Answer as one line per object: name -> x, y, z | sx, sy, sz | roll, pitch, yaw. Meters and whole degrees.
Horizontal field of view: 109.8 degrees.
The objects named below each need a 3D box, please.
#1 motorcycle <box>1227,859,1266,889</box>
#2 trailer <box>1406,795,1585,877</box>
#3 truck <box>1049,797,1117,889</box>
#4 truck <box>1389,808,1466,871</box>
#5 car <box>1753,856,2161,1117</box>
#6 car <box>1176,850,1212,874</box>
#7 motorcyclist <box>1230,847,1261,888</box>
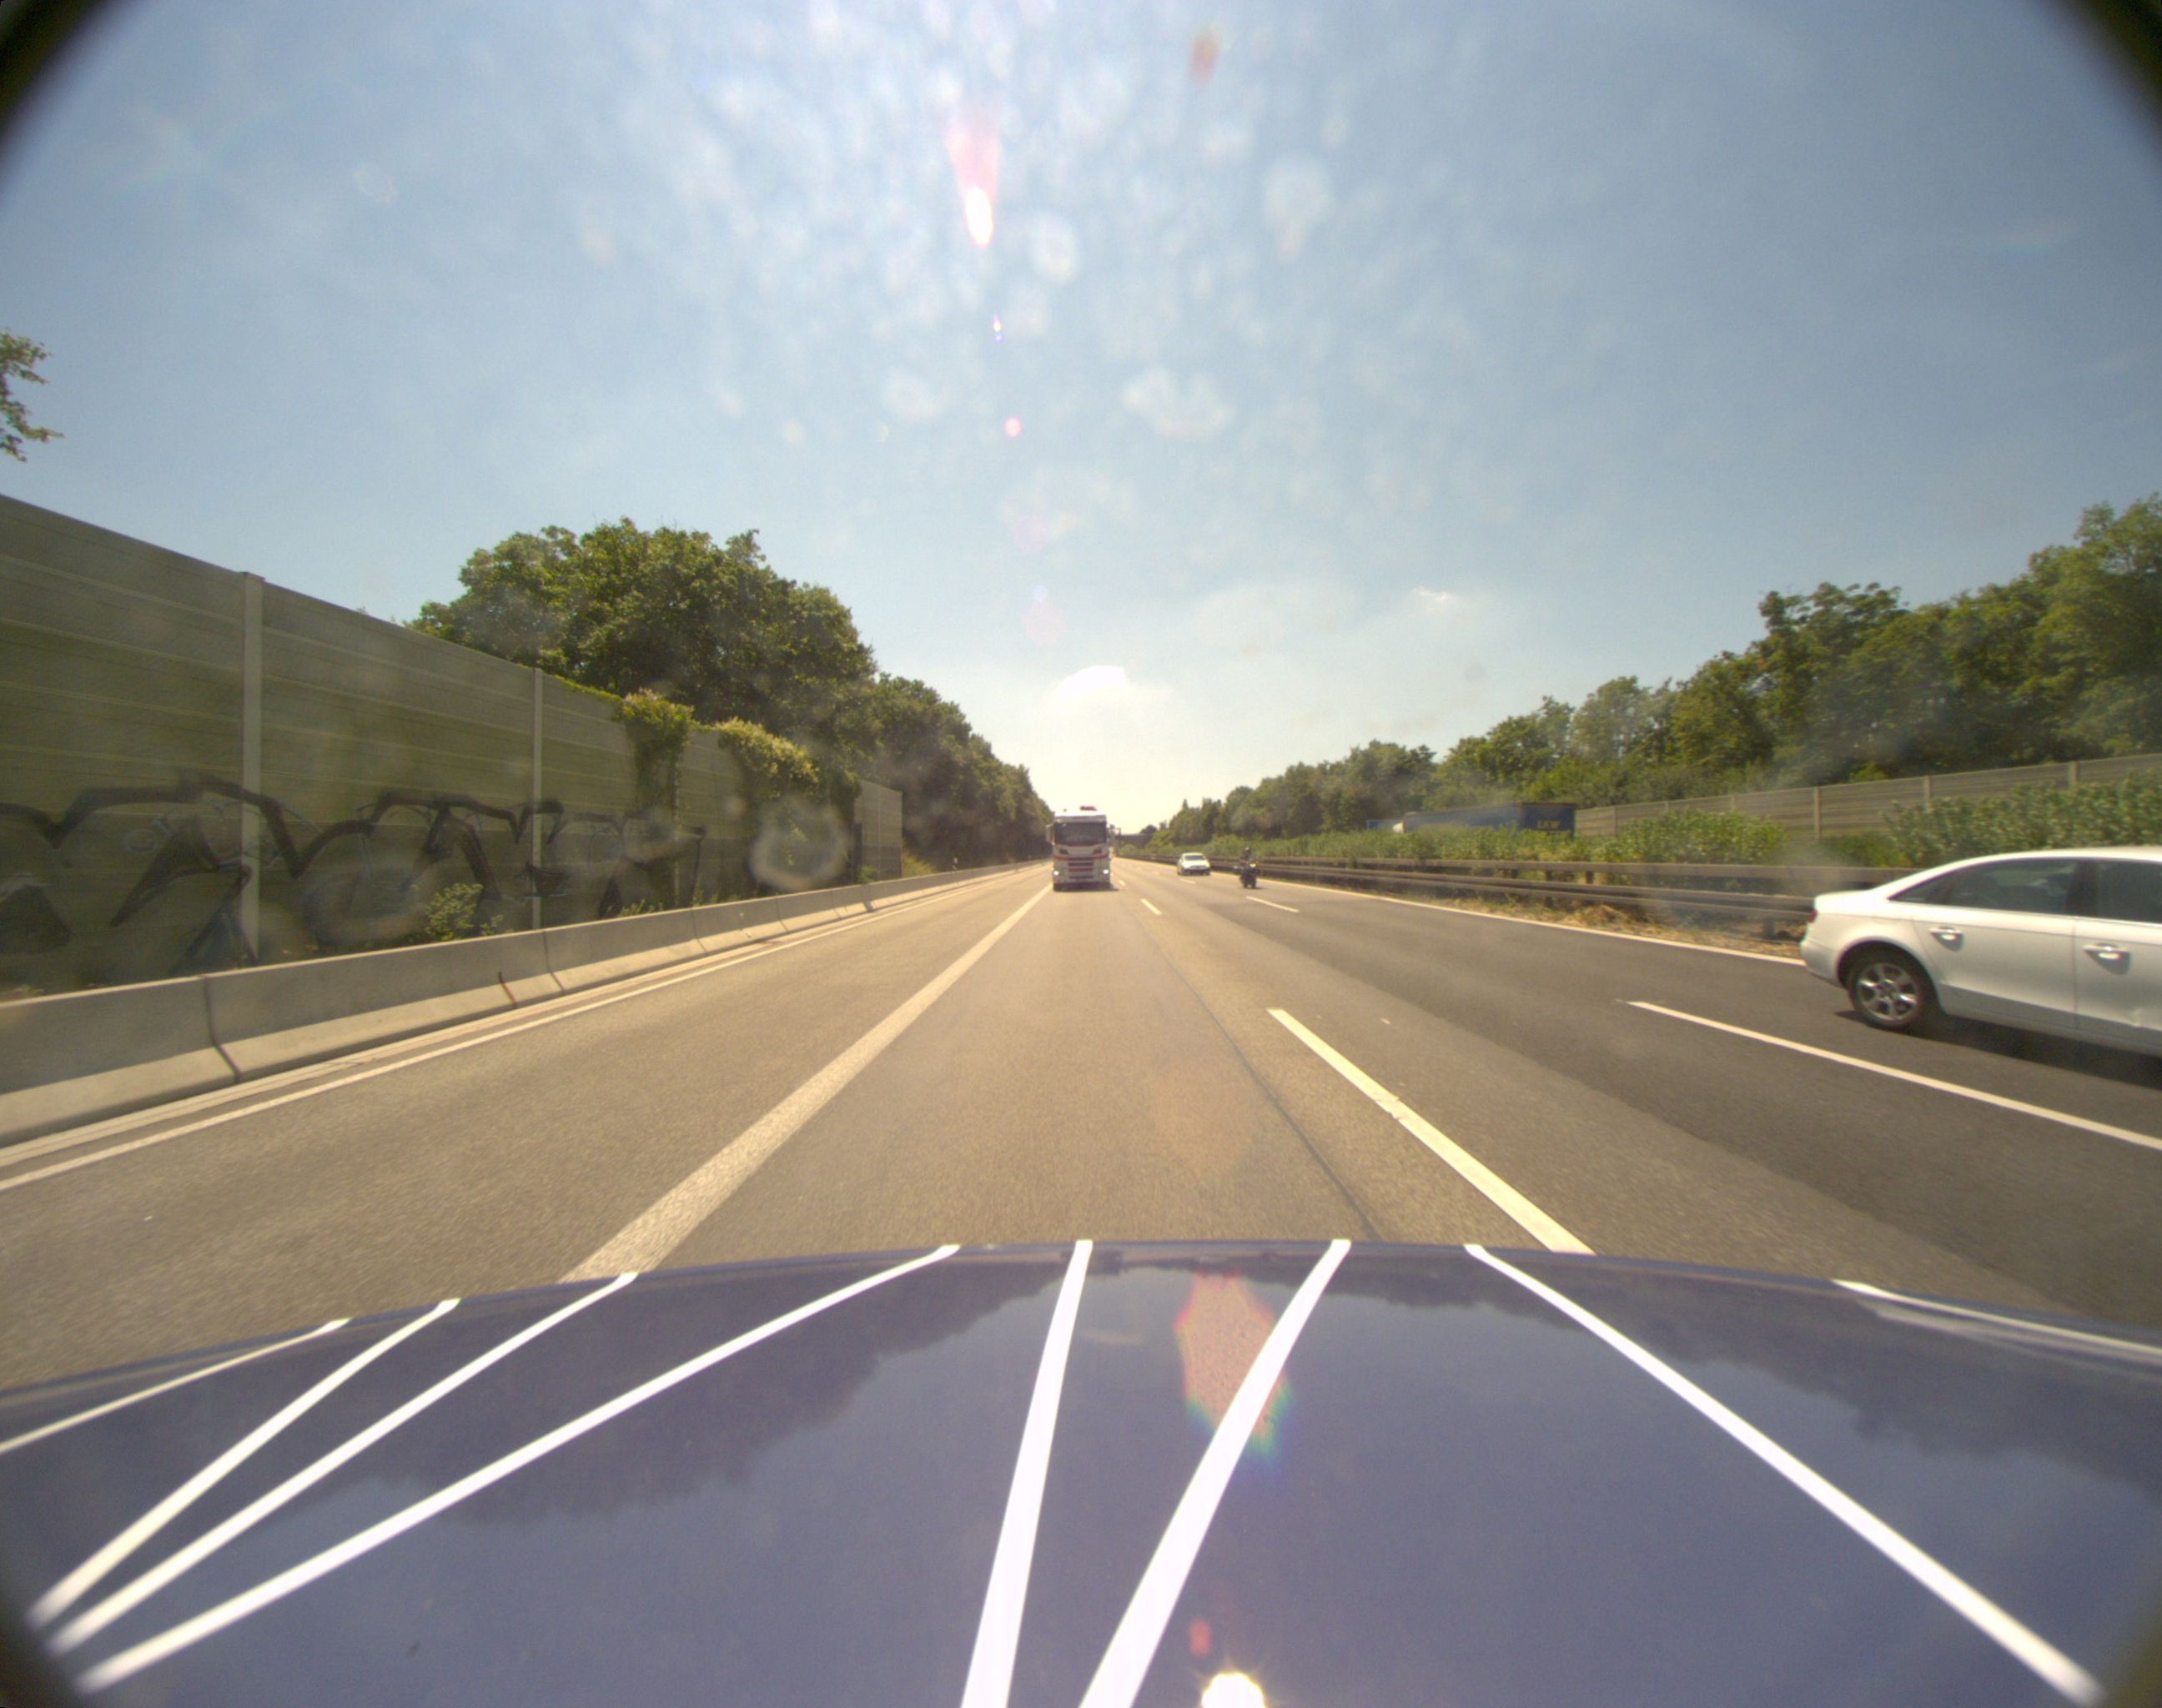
motorcycle -> 6.764, 0.803, 31.218 | 0.915, 1.082, 2.849 | -2, 1, -1
trailer -> 22.458, -0.879, 42.620 | 2.712, 3.830, 13.673 | -1, 0, 1
truck -> 0.176, -0.416, 37.465 | 2.721, 3.779, 10.673 | -2, 0, 1
truck -> 22.572, -0.910, 49.753 | 2.677, 3.830, 5.092 | -2, 0, 1
car -> 7.122, 0.767, 4.444 | 1.881, 1.432, 5.125 | -2, 0, 1
car -> 7.363, 0.494, 49.832 | 1.786, 1.432, 4.669 | -1, 0, 2
motorcyclist -> 6.746, 0.532, 31.194 | 0.895, 1.588, 1.299 | -3, 2, 0
